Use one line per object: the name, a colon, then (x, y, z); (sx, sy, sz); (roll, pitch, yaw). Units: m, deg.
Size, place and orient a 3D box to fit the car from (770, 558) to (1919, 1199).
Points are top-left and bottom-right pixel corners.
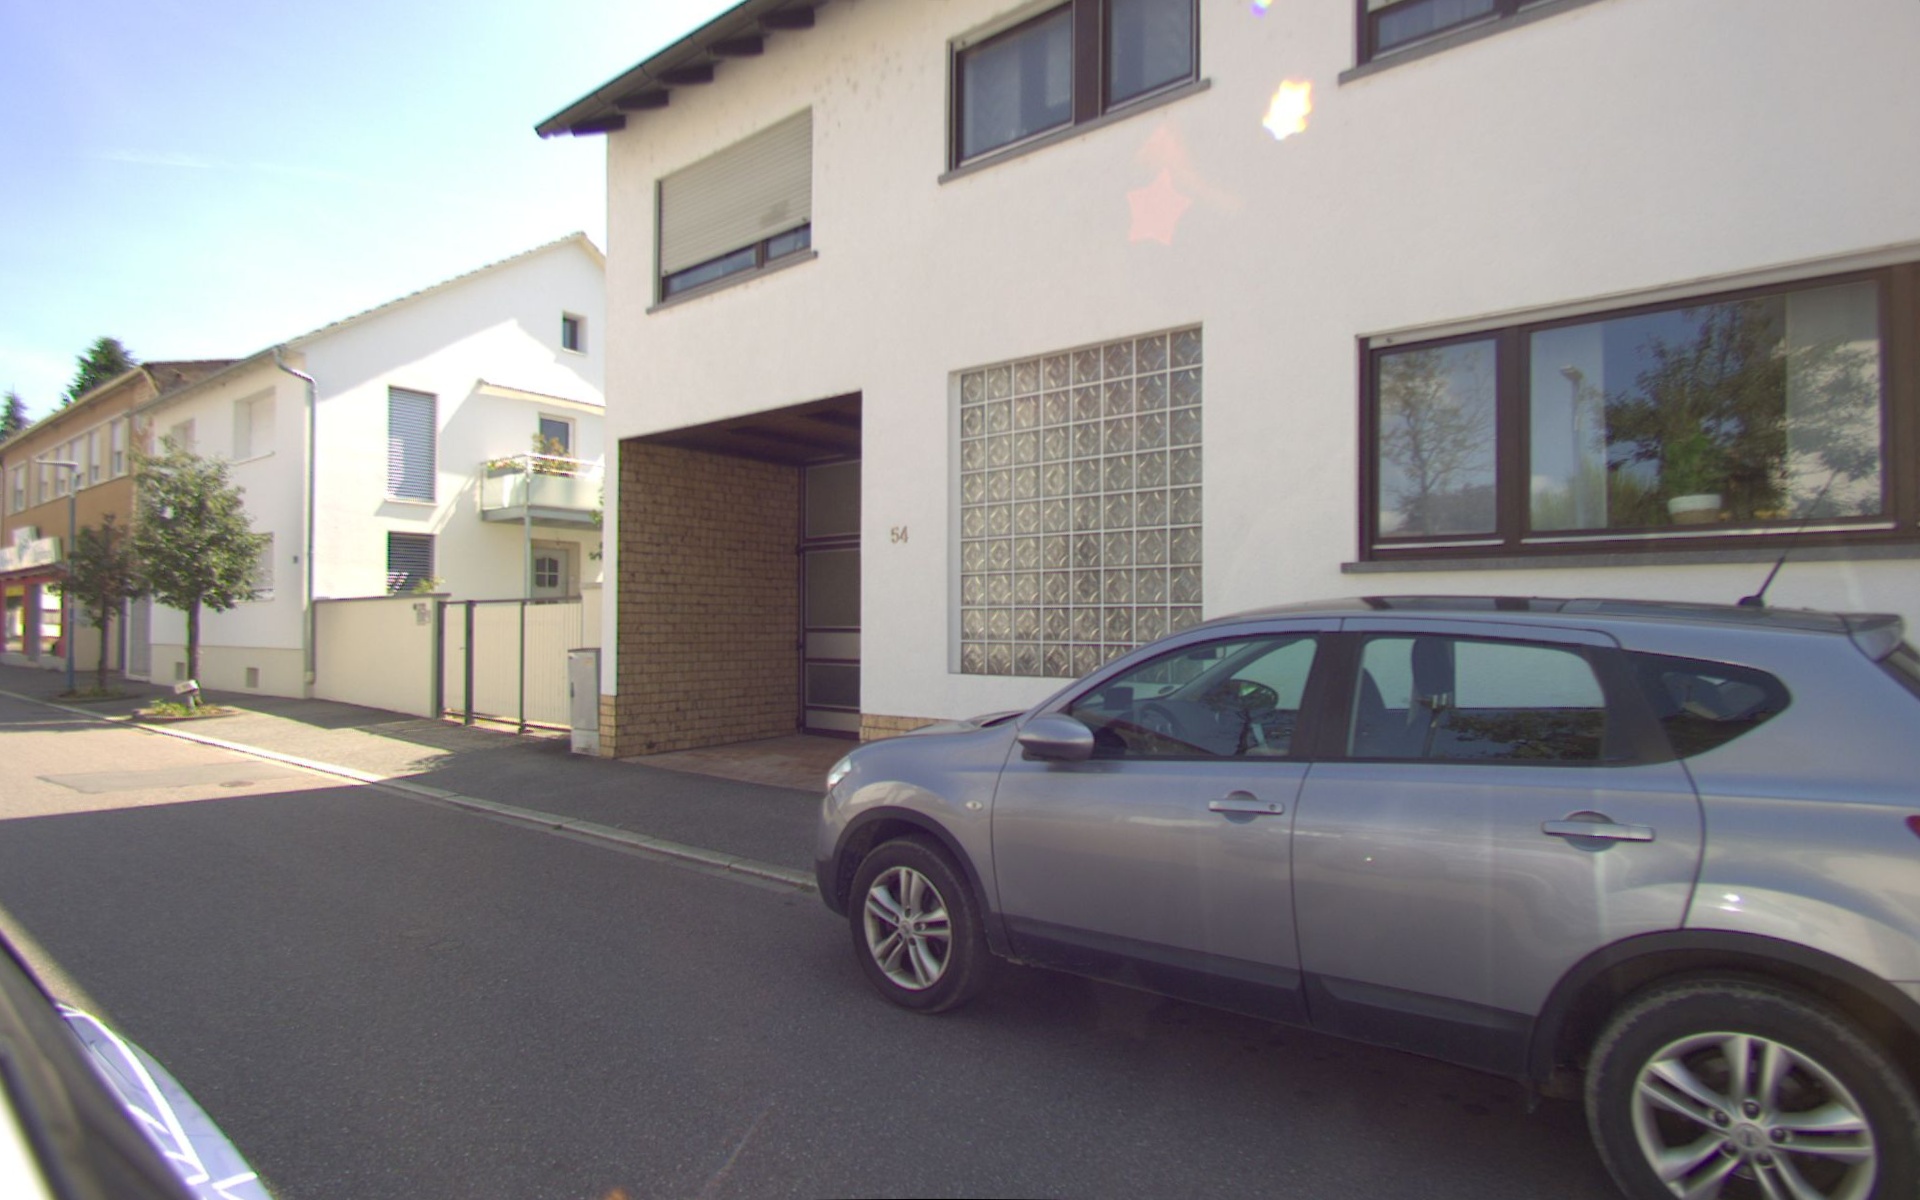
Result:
car: (1.405, 0.724, 3.656); (4.283, 1.536, 1.741); (-1, -2, 38)
